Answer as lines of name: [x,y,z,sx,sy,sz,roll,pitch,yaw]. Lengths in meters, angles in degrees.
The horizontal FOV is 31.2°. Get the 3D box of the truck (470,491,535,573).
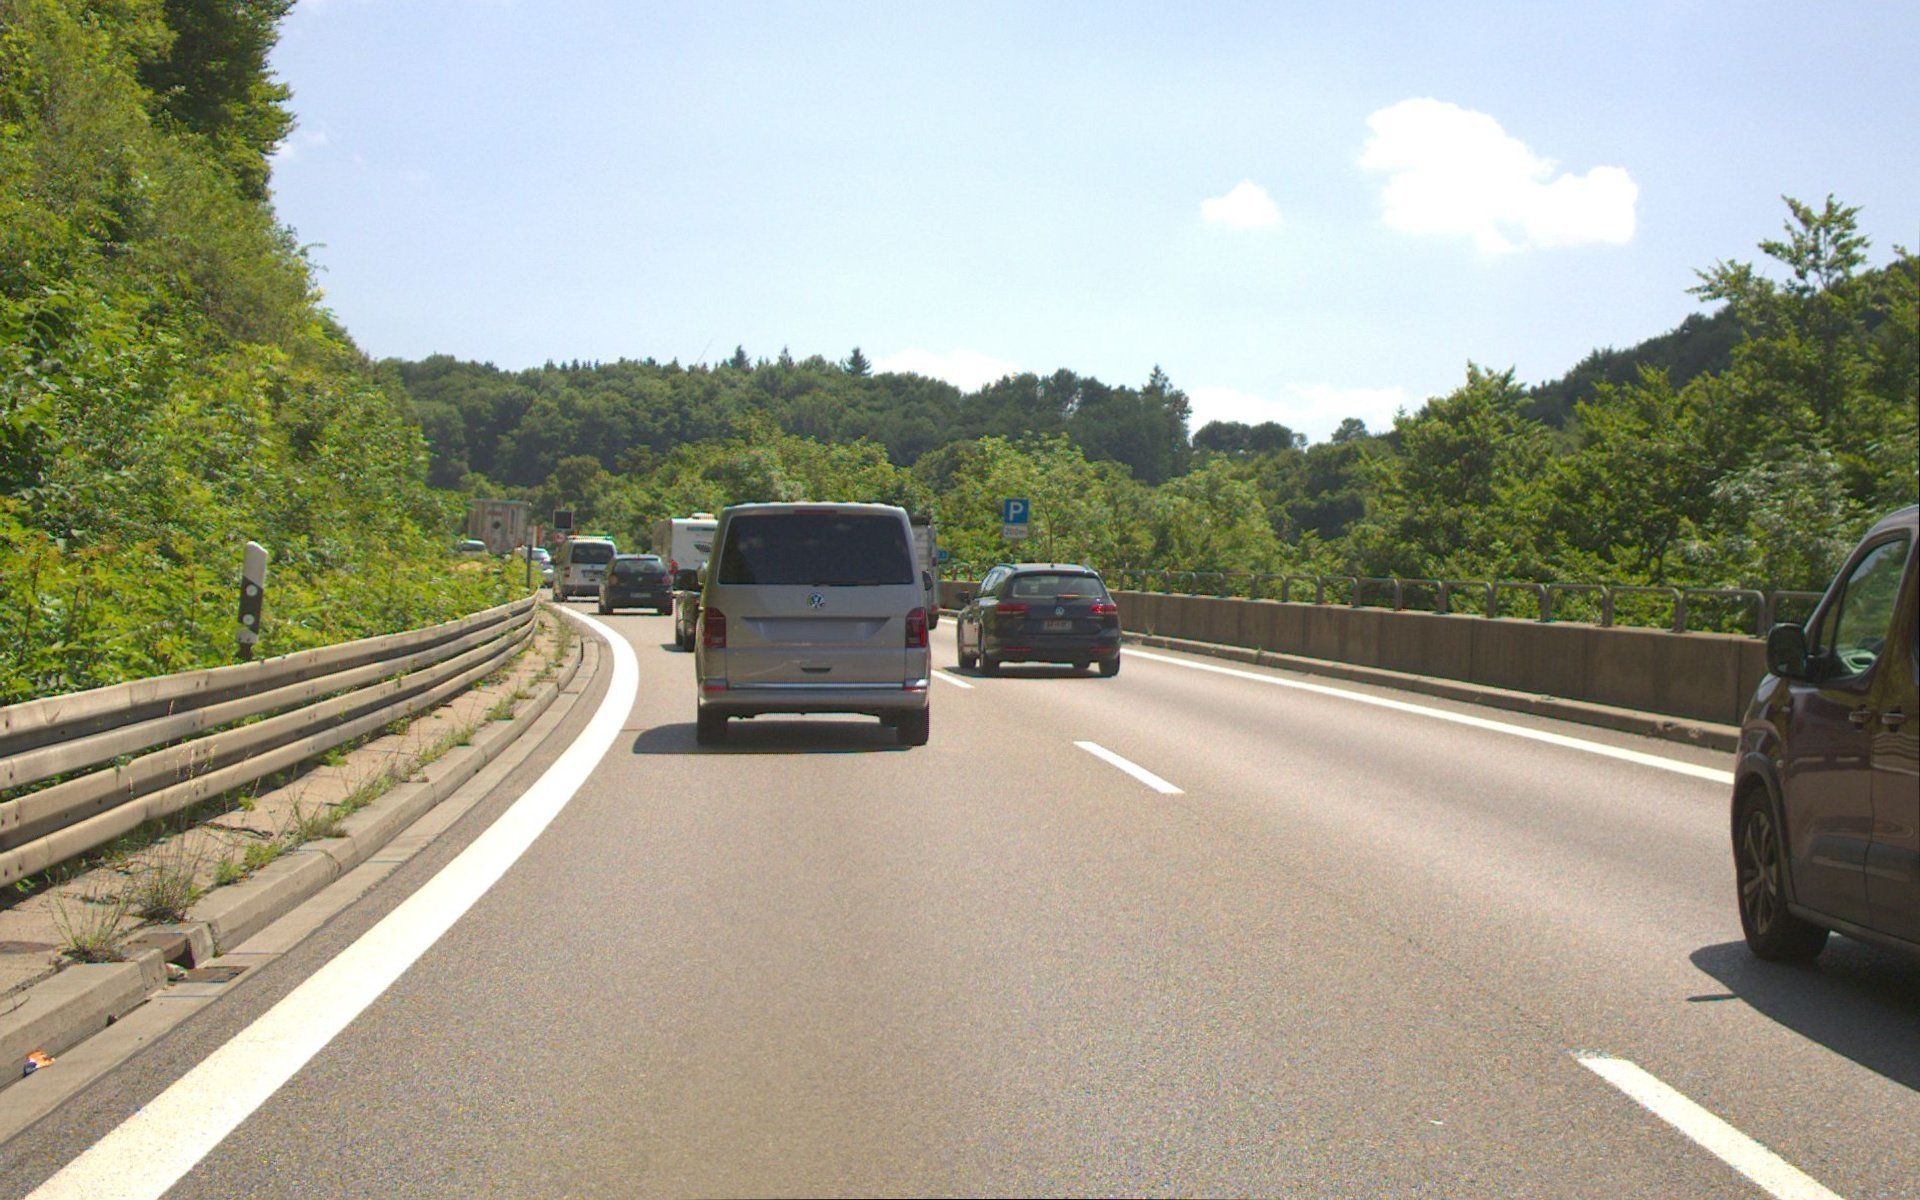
truck: [-25.998,-3.842,195.284,3.291,4.504,7.731,1,1,-10]

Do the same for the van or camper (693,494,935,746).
van or camper: [-1.289,0.136,28.782,1.875,1.943,4.294,0,0,-4]

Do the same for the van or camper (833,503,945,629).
van or camper: [-1.507,-0.706,72.196,2.263,2.542,4.737,0,0,-2]

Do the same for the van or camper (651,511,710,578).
van or camper: [-16.320,-3.216,201.121,3.275,3.776,8.112,0,0,-3]

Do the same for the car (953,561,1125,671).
car: [1.000,0.181,45.331,1.768,1.371,3.593,1,1,-7]

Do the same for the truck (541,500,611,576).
truck: [-22.440,-3.579,201.167,3.291,4.317,7.729,0,0,-1]

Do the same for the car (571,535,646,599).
car: [-10.170,-0.966,99.552,1.993,1.811,4.001,1,1,-4]

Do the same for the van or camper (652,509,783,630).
van or camper: [-8.017,-1.032,112.872,3.275,3.776,8.114,1,1,-11]

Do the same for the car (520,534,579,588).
car: [-14.838,-1.418,124.341,1.993,1.908,4.001,1,1,-5]

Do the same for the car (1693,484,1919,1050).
car: [3.919,0.527,11.535,1.833,1.778,4.676,0,0,-1]

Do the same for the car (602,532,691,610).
car: [-7.624,-0.708,83.307,1.993,1.811,4.001,1,1,-7]
